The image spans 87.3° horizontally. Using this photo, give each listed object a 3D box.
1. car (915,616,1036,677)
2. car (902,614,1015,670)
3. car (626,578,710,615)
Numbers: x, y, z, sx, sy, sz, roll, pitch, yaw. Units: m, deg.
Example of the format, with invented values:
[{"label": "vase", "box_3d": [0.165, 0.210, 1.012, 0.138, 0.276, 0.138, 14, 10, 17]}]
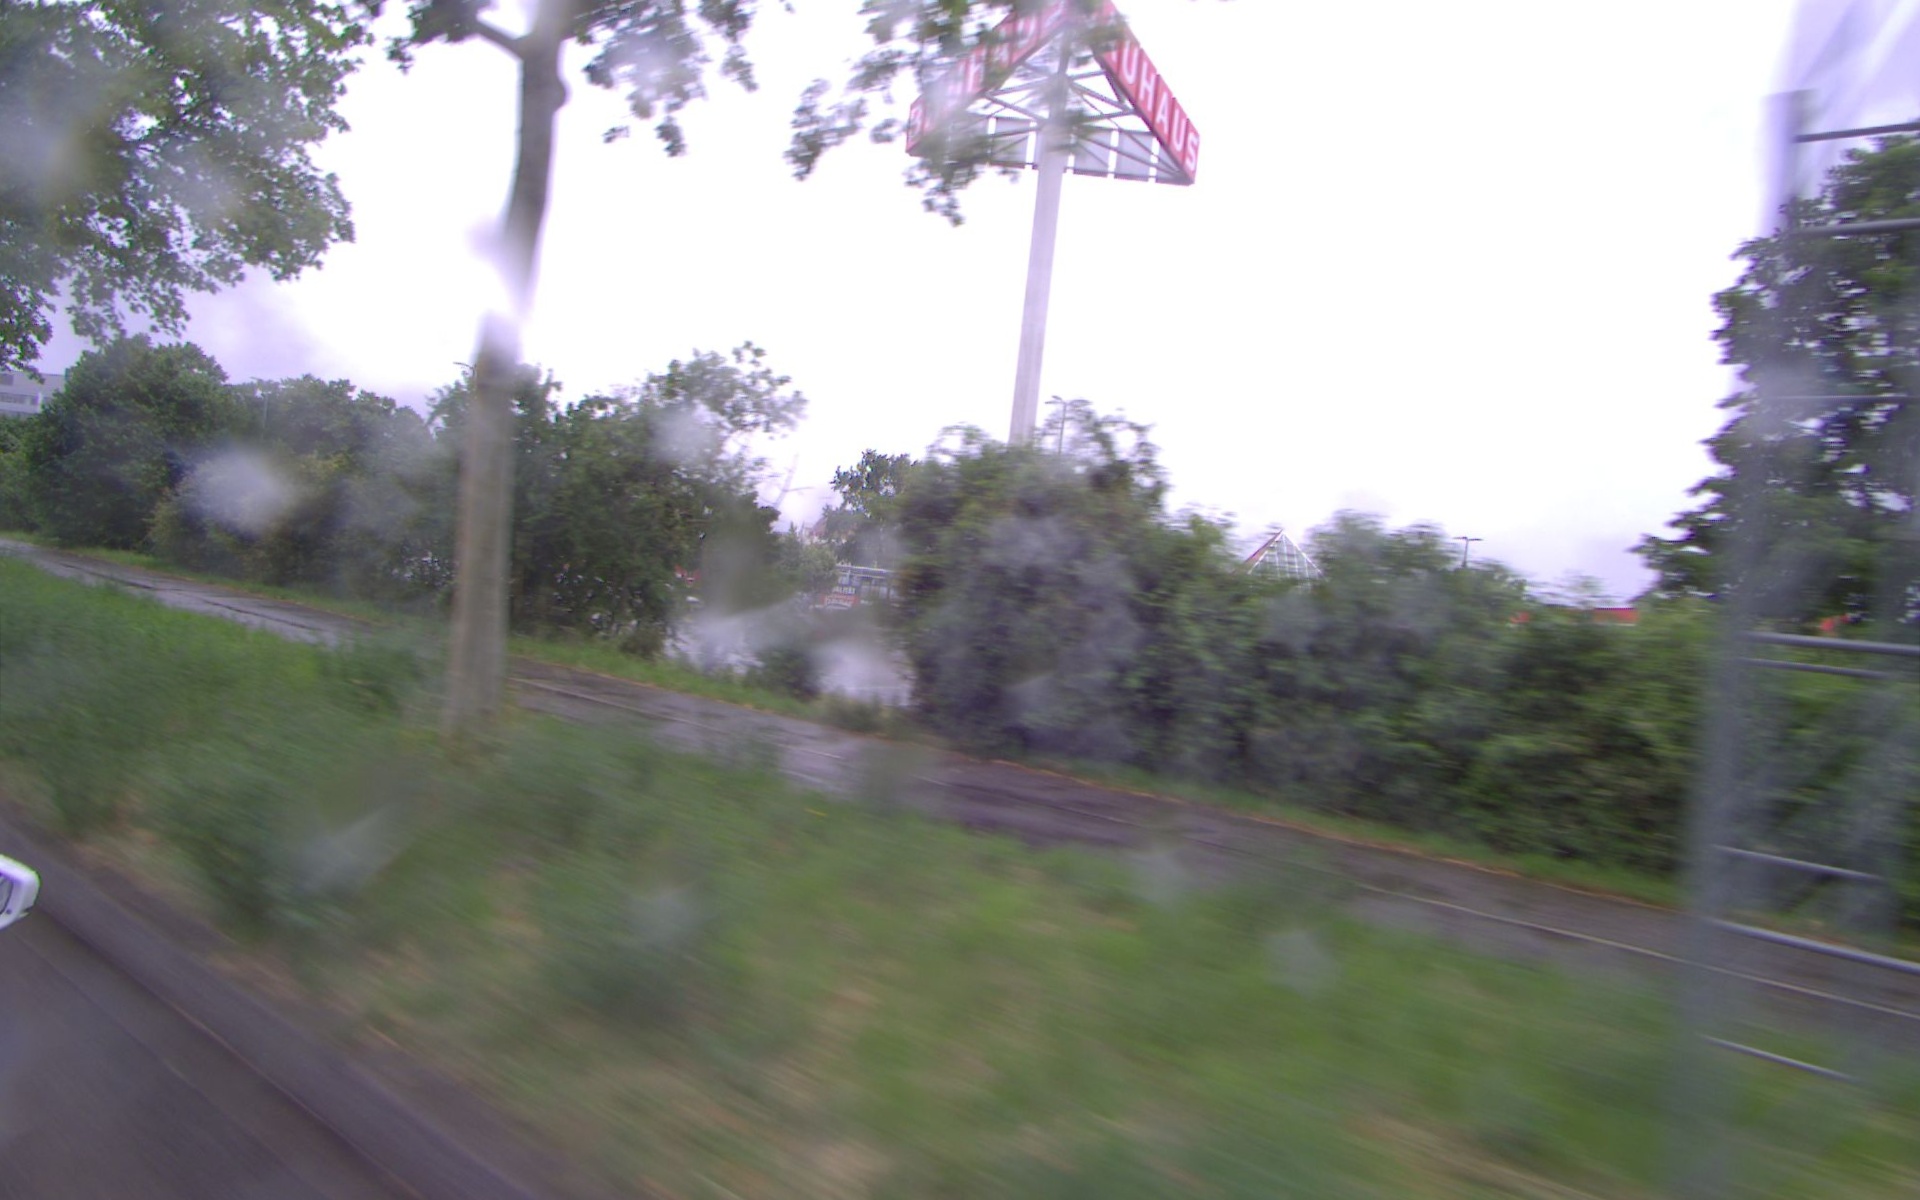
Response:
[{"label": "car", "box_3d": [0.523, 1.713, 37.554, 4.261, 1.654, 1.939, 8, -1, -3]}, {"label": "car", "box_3d": [-0.035, 1.672, 40.283, 4.258, 1.654, 1.940, 8, -1, 1]}, {"label": "car", "box_3d": [-16.348, -0.177, 56.418, 3.998, 1.496, 1.786, 7, -1, 3]}]
